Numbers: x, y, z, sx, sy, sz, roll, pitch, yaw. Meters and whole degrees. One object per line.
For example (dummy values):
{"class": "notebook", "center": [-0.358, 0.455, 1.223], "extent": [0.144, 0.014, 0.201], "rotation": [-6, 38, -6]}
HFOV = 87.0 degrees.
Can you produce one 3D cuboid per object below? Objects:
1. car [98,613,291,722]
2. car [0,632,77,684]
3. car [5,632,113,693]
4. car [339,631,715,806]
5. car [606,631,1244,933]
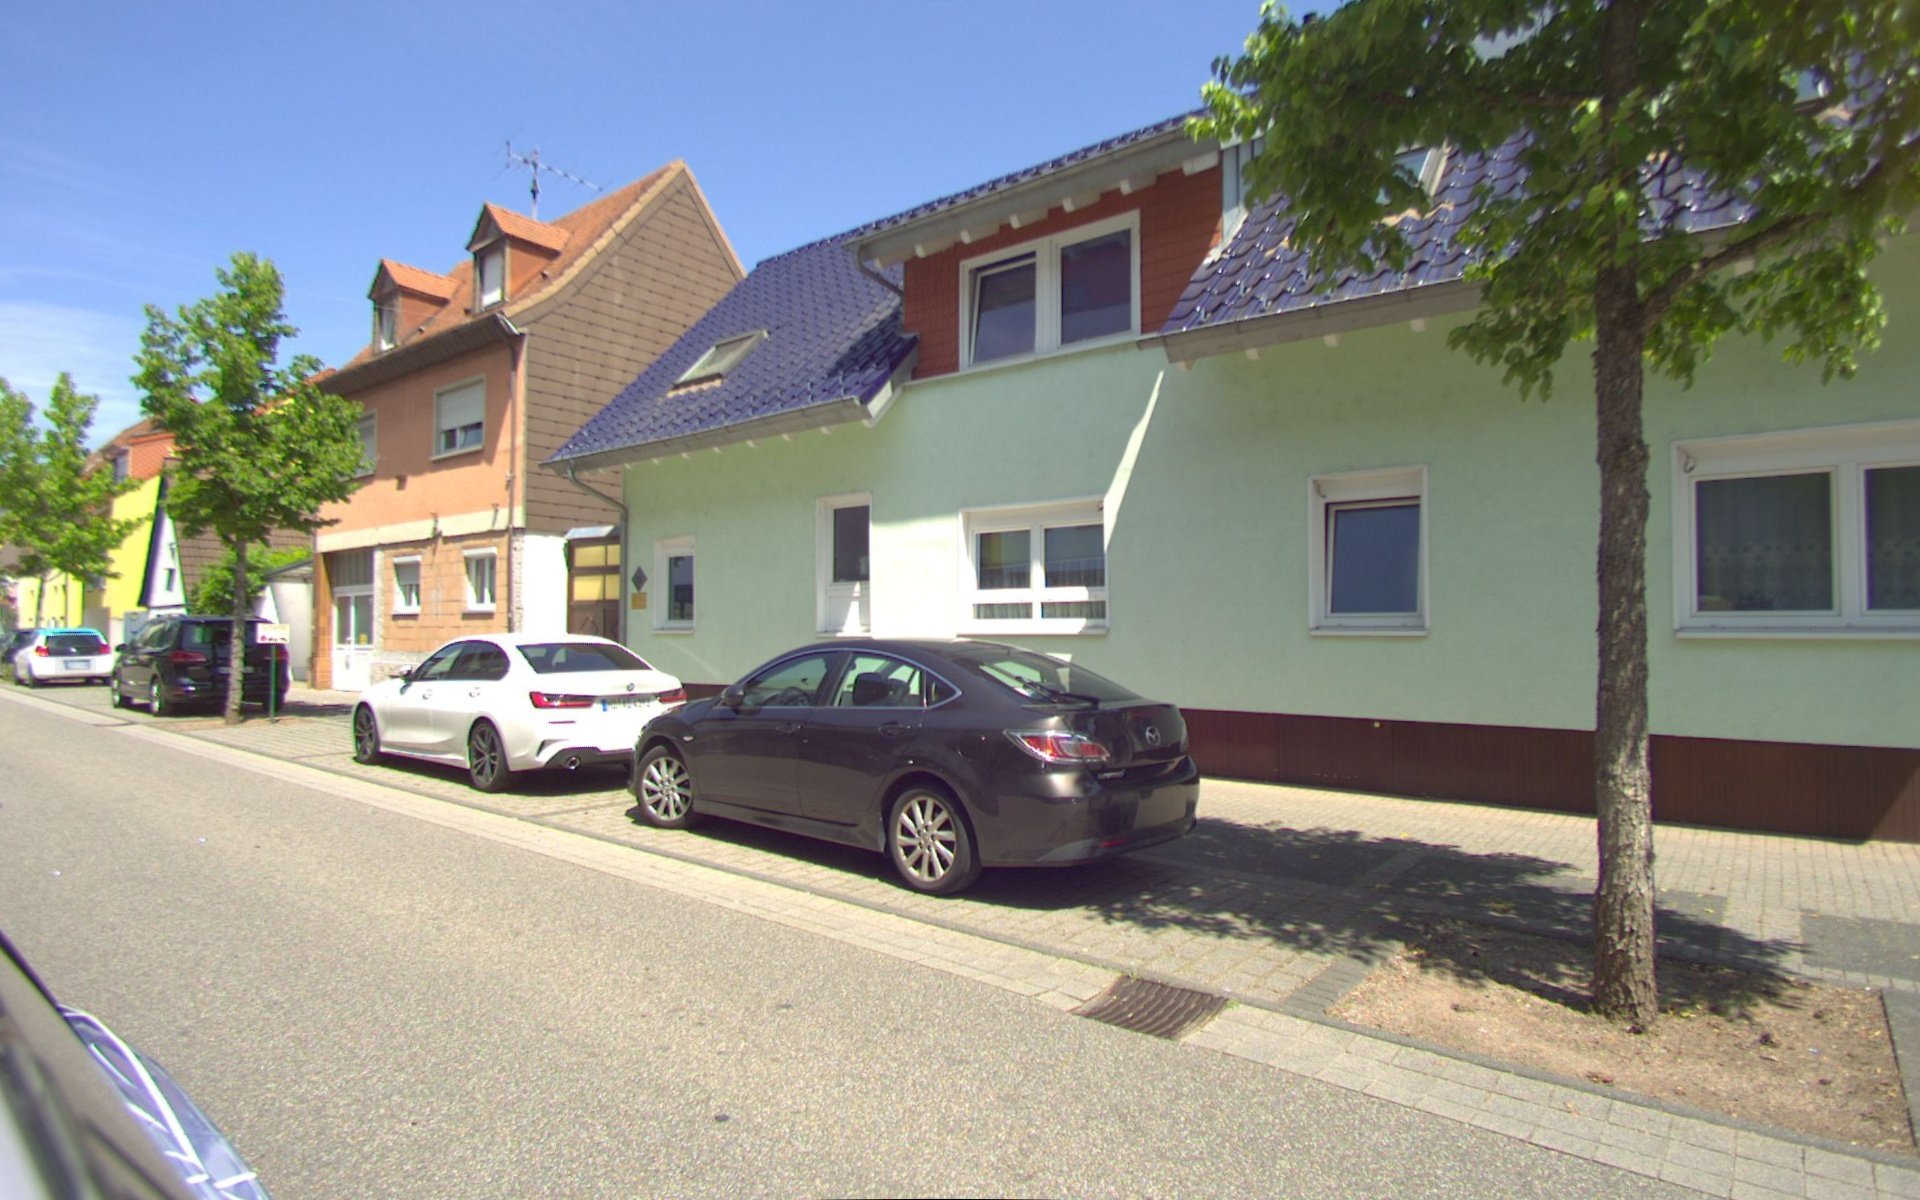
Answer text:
{"class": "car", "center": [-13.915, 1.154, 18.305], "extent": [4.515, 1.739, 1.757], "rotation": [-2, -3, 39]}
{"class": "car", "center": [-27.602, 1.673, 29.875], "extent": [4.095, 1.441, 1.628], "rotation": [-2, -4, 40]}
{"class": "car", "center": [-22.954, 1.541, 25.747], "extent": [3.407, 1.441, 1.538], "rotation": [-2, -3, 40]}
{"class": "car", "center": [-4.627, 1.063, 10.502], "extent": [4.455, 1.448, 1.703], "rotation": [-2, -3, 39]}
{"class": "car", "center": [-0.521, 0.941, 7.012], "extent": [4.536, 1.448, 1.643], "rotation": [-2, -2, 41]}
